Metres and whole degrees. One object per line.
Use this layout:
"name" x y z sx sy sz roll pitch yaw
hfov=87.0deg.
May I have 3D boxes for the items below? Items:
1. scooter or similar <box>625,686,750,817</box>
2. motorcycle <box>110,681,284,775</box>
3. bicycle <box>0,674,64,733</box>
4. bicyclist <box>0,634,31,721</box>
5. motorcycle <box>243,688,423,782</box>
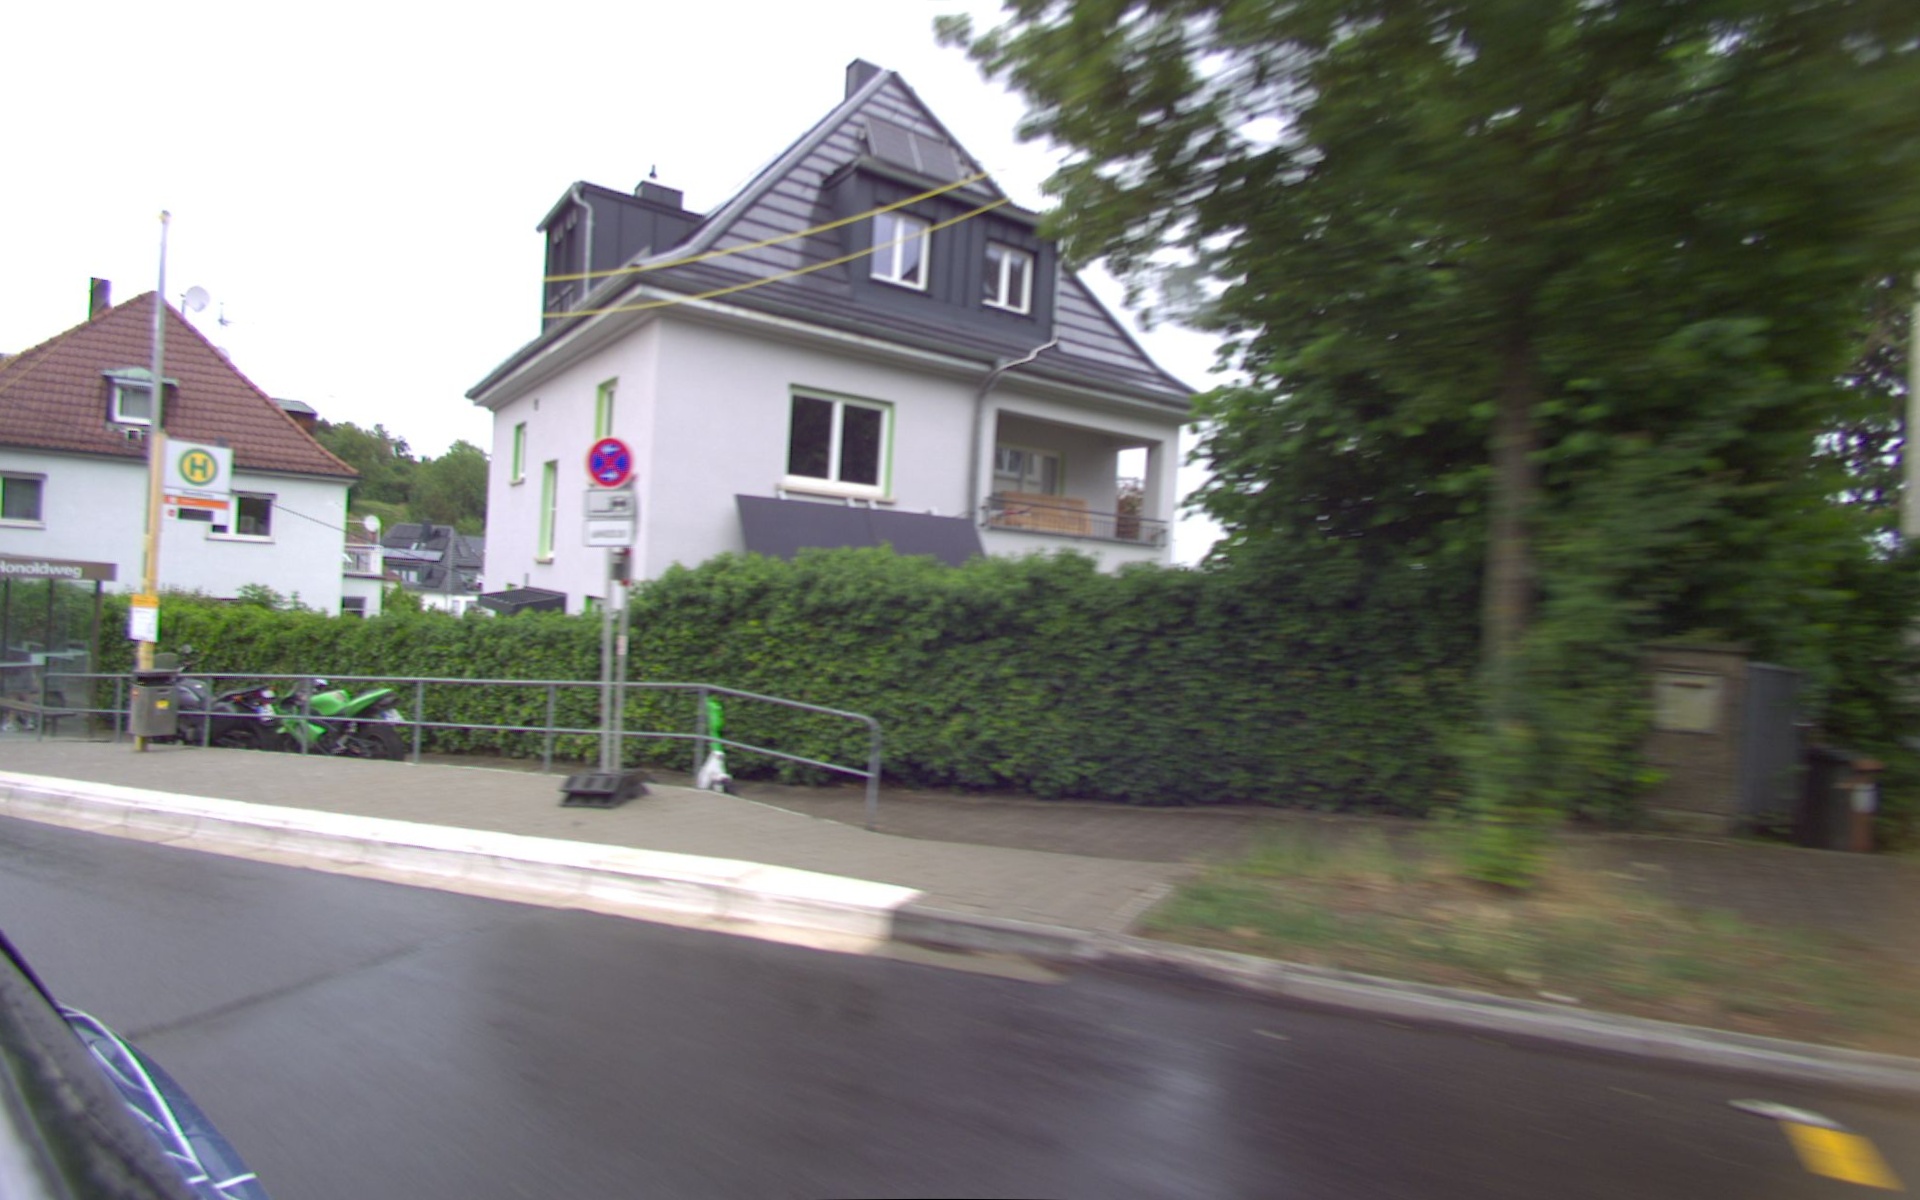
"scooter or similar" -2.442 1.334 9.066 1.088 1.089 0.322 -1 -4 23
"motorcycle" -9.350 1.531 12.396 2.137 1.044 0.664 -1 -4 22
"bicycle" -16.503 1.734 17.036 1.094 0.939 1.856 0 -4 33
"bicyclist" -16.486 1.290 17.066 1.094 1.450 0.898 0 -4 33
"motorcycle" -7.109 1.499 11.474 1.996 0.941 0.664 -1 -4 22
